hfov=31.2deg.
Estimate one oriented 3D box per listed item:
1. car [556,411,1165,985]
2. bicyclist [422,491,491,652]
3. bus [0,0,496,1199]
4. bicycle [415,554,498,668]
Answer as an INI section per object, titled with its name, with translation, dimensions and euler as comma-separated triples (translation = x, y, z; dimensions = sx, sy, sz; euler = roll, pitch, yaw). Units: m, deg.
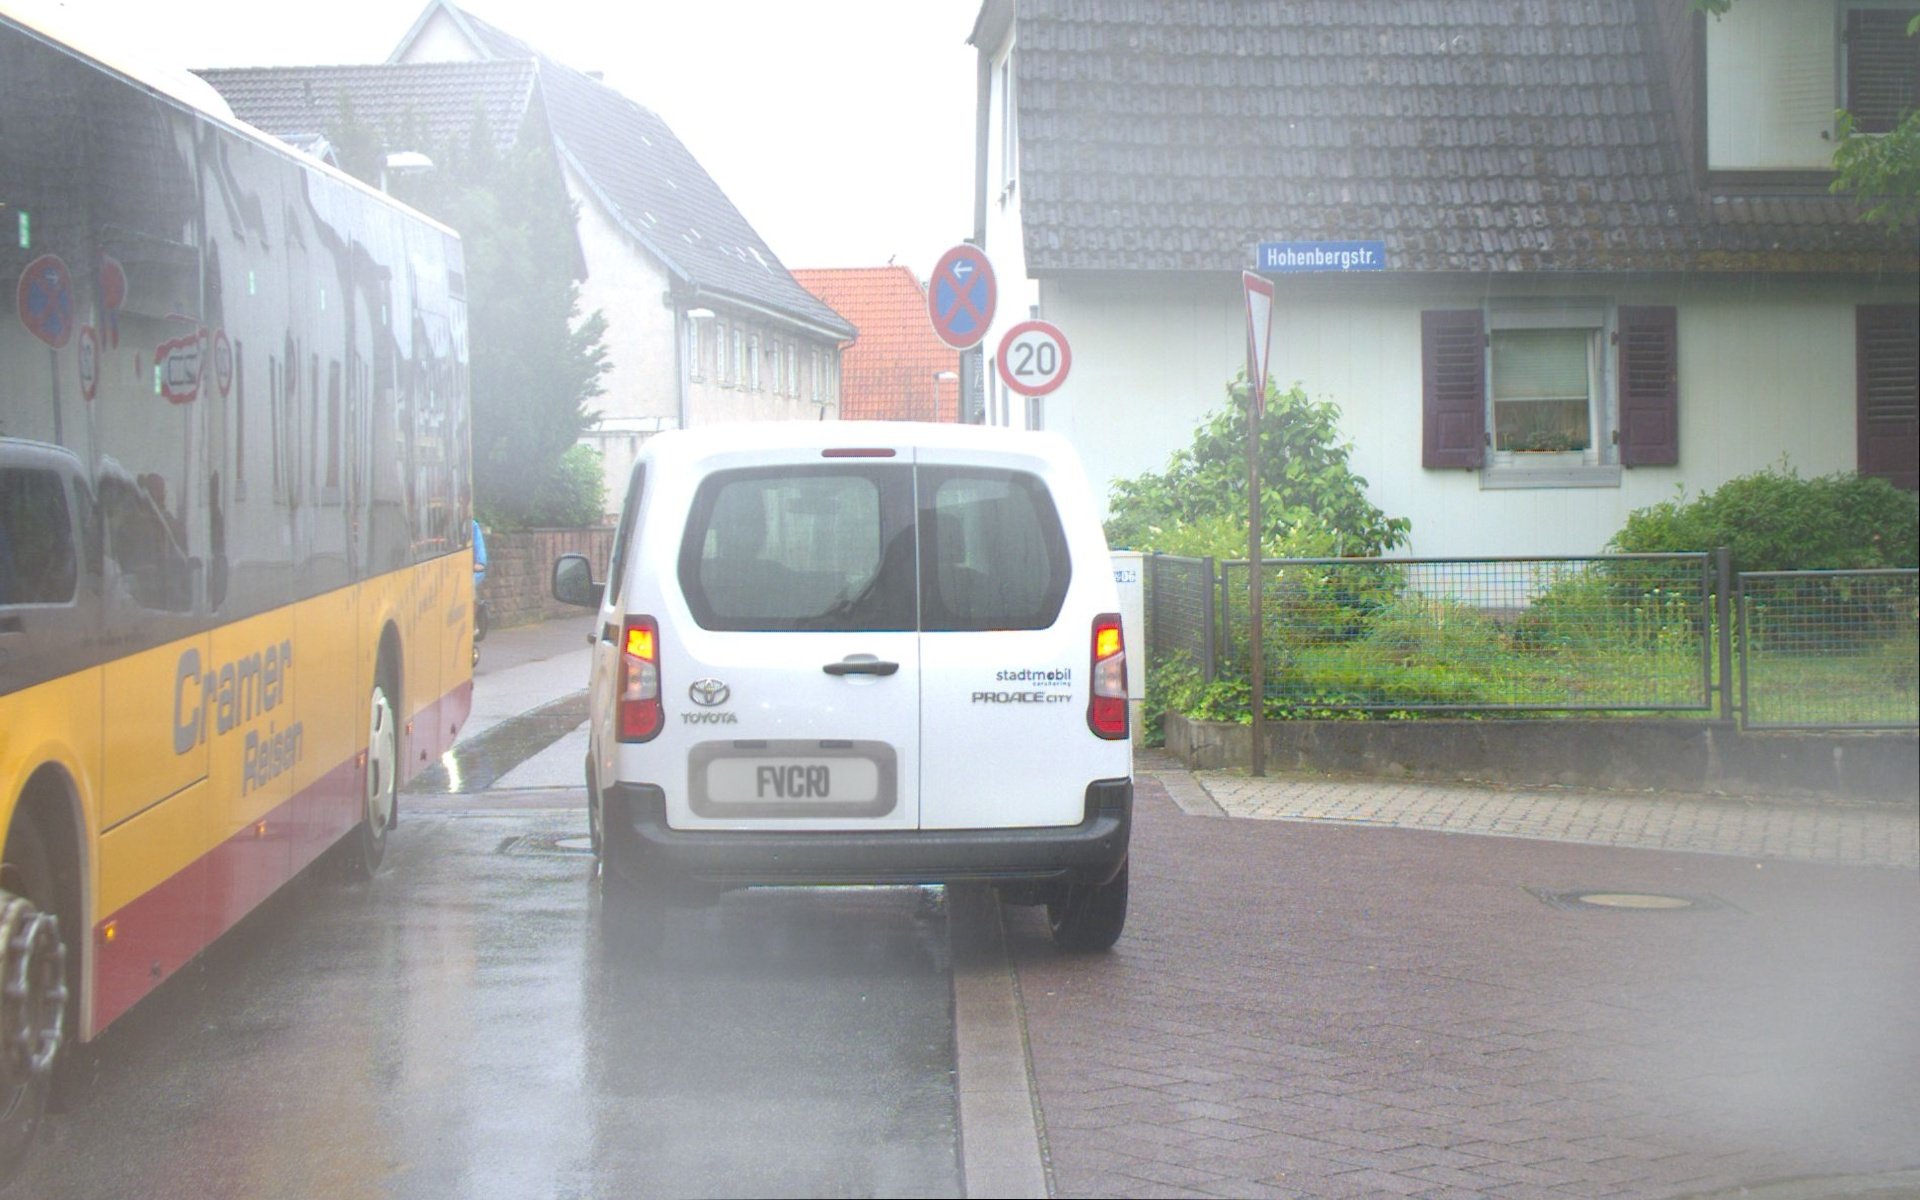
[car]
translation = -0.498, 0.271, 12.724
dimensions = 1.894, 1.787, 3.814
euler = 1, 1, -6
[bicyclist]
translation = -5.422, -0.306, 37.053
dimensions = 0.589, 1.701, 0.517
euler = -2, 0, 2
[bus]
translation = -3.430, -0.322, 11.032
dimensions = 2.649, 2.989, 12.195
euler = 0, 3, -2
[bicycle]
translation = -5.409, 0.107, 37.011
dimensions = 0.546, 1.177, 1.621
euler = -2, 0, 3
